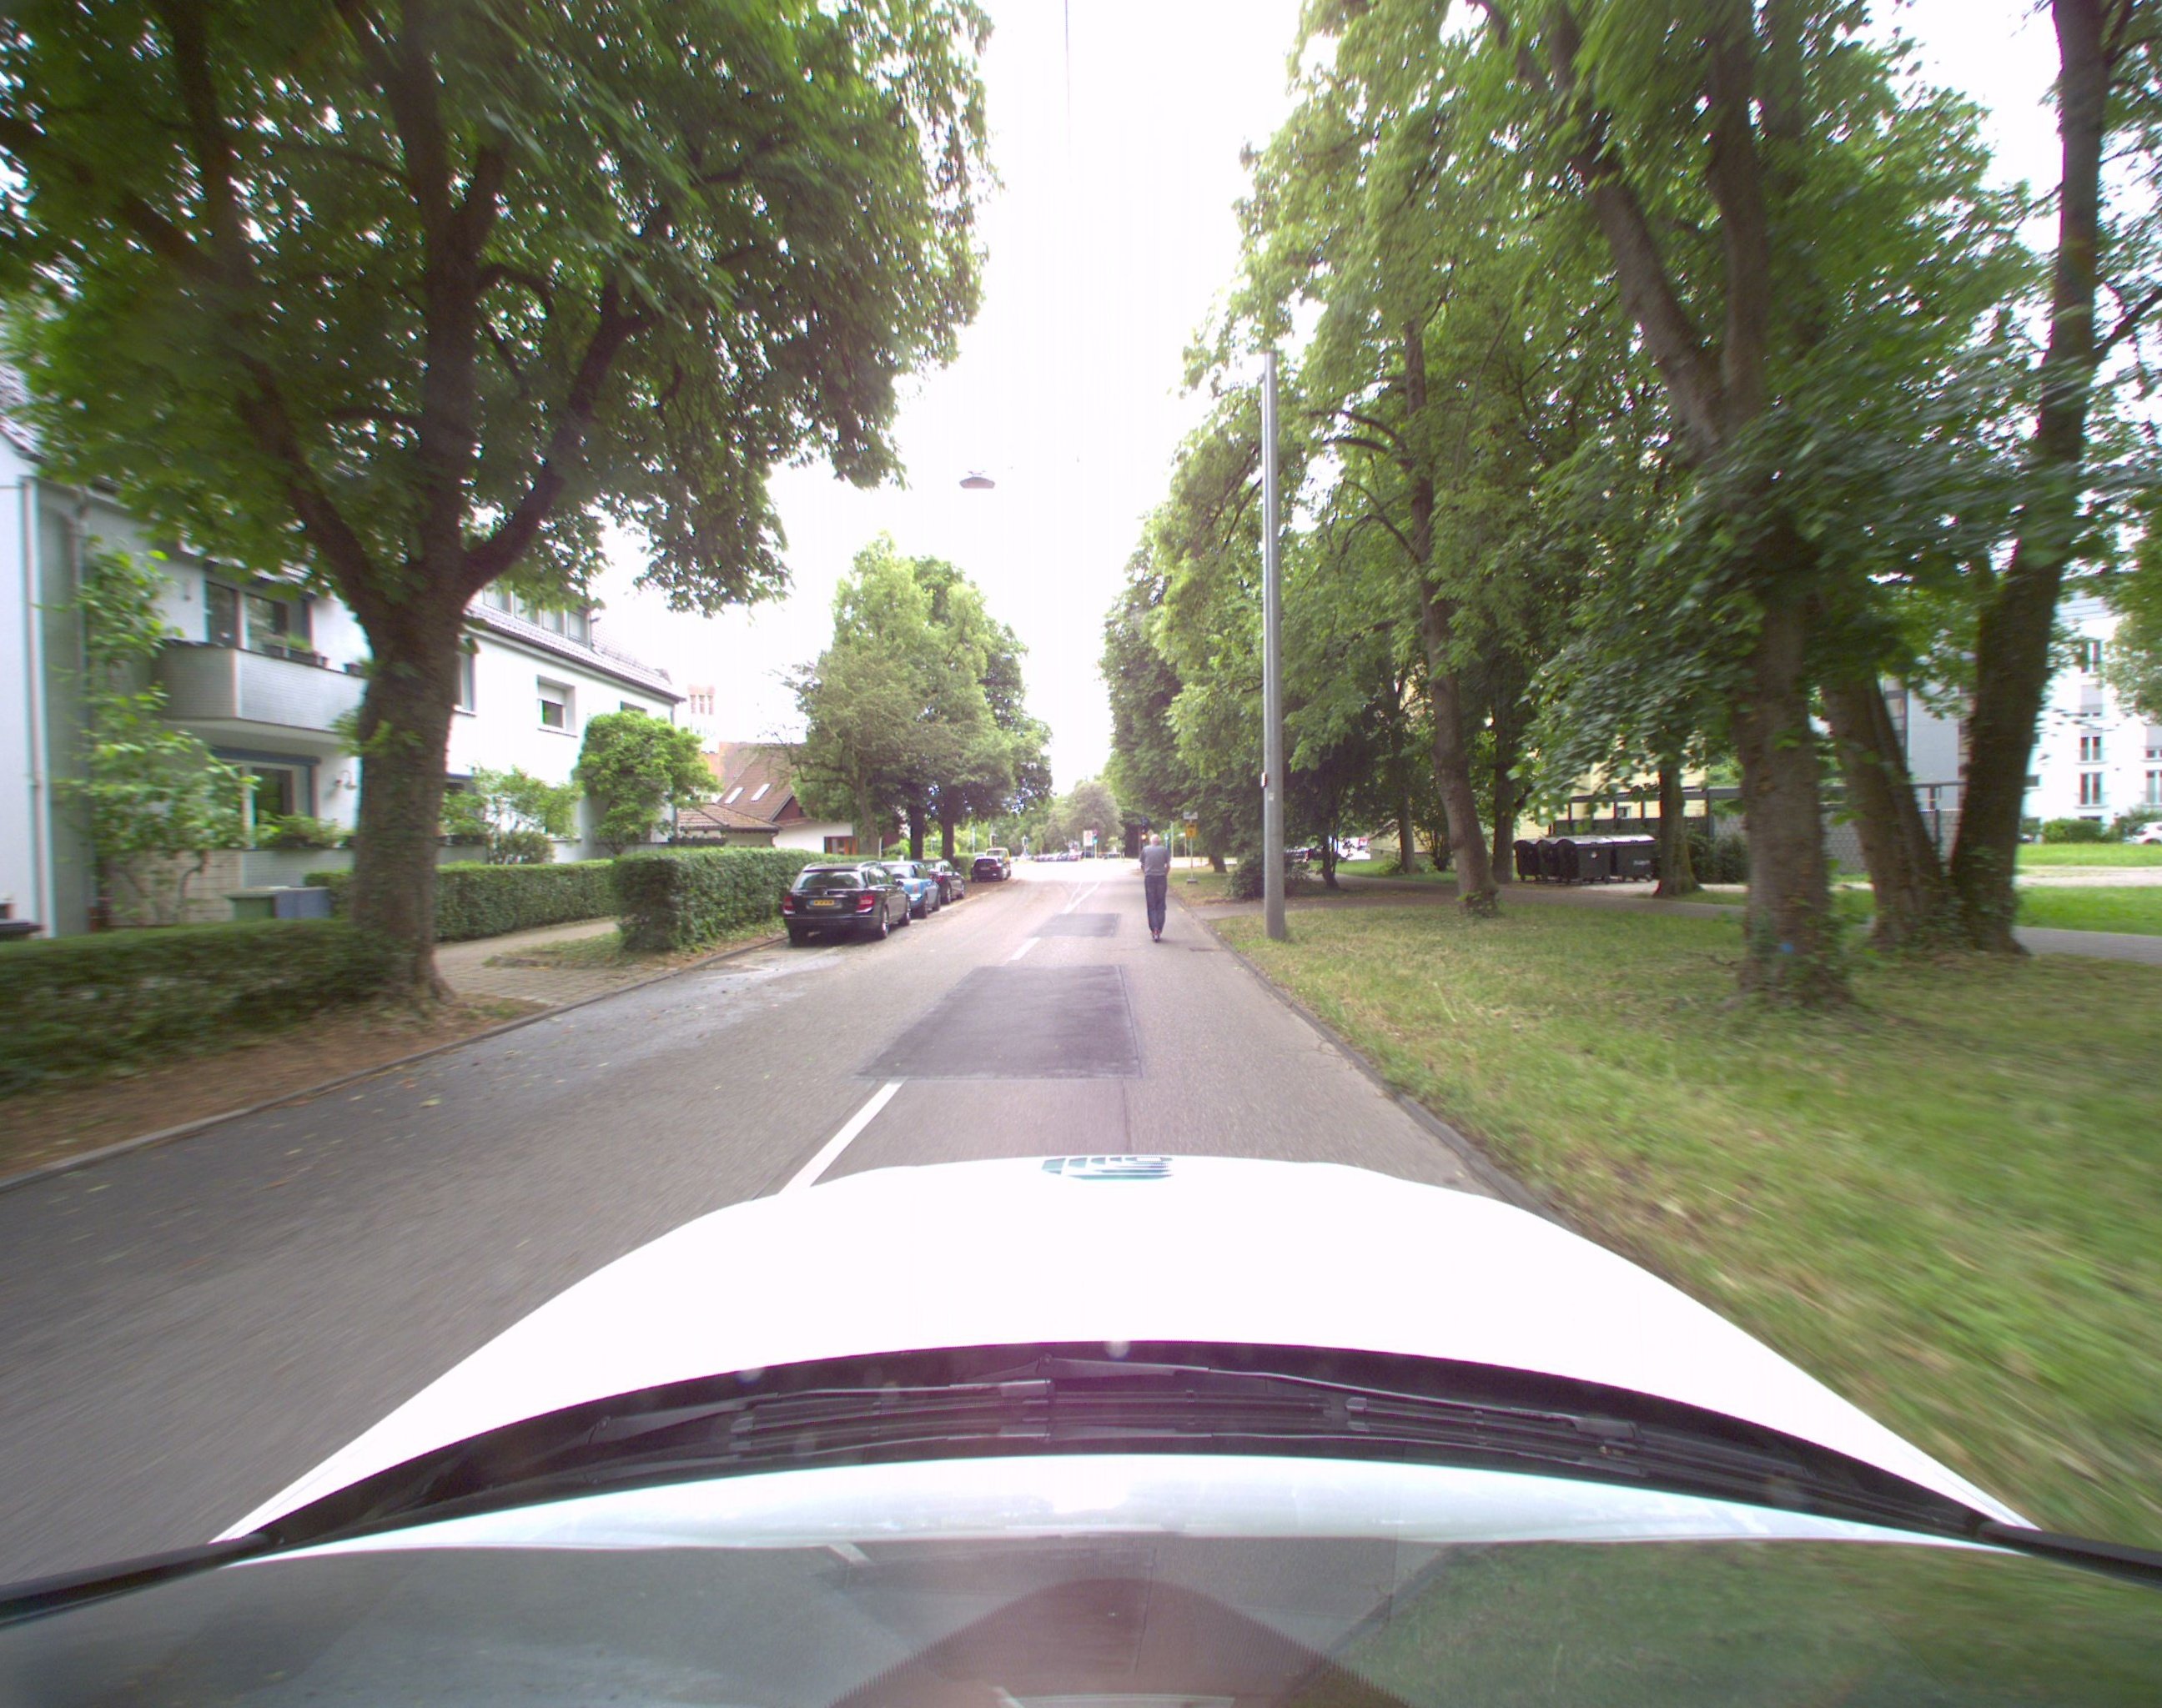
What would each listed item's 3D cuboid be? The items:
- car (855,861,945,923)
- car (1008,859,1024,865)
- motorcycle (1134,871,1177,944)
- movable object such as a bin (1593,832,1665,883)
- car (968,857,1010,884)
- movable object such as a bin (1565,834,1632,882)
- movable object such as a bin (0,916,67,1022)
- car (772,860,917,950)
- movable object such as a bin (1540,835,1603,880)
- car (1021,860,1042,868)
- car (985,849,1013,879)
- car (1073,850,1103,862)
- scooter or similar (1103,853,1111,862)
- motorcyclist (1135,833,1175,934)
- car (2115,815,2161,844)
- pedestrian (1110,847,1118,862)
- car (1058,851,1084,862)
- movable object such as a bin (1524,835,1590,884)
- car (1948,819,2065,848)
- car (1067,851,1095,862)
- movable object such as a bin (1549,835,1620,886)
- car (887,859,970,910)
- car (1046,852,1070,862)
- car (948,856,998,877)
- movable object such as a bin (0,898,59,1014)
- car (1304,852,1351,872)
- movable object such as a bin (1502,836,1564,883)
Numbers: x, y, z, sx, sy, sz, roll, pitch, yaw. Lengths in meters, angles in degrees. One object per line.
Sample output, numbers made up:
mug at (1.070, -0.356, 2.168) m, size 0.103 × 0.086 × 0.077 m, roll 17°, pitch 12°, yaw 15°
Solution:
car at (-4.633, 0.925, 21.321) m, size 1.660 × 1.391 × 3.703 m, roll -2°, pitch 0°, yaw -3°
car at (-16.348, 2.005, 206.016) m, size 3.979 × 1.510 × 1.798 m, roll -2°, pitch 0°, yaw -4°
motorcycle at (1.311, 0.926, 14.473) m, size 0.670 × 1.217 × 1.274 m, roll 0°, pitch 0°, yaw 1°
movable object such as a bin at (17.123, 0.120, 25.486) m, size 1.324 × 1.501 × 1.313 m, roll -2°, pitch 0°, yaw -3°
car at (-5.267, 0.946, 47.132) m, size 1.886 × 1.410 × 4.553 m, roll -2°, pitch -1°, yaw 0°
movable object such as a bin at (17.061, 0.122, 26.889) m, size 1.324 × 1.501 × 1.313 m, roll -2°, pitch 0°, yaw -3°
movable object such as a bin at (-9.901, 1.056, 7.505) m, size 0.455 × 0.915 × 0.507 m, roll -2°, pitch 0°, yaw -7°
car at (-4.571, 0.902, 16.446) m, size 1.790 × 1.472 × 4.413 m, roll -2°, pitch 0°, yaw -3°
movable object such as a bin at (16.974, 0.119, 28.240) m, size 1.324 × 1.501 × 1.313 m, roll -2°, pitch 0°, yaw -3°
car at (-9.426, 1.900, 155.219) m, size 3.979 × 1.510 × 1.798 m, roll -2°, pitch 0°, yaw -4°
car at (-5.860, 0.708, 58.163) m, size 1.855 × 1.964 × 4.494 m, roll -2°, pitch -1°, yaw -6°
car at (0.952, 0.334, 114.461) m, size 3.979 × 1.510 × 1.798 m, roll -2°, pitch 0°, yaw -4°
scooter or similar at (3.036, 0.404, 95.624) m, size 0.704 × 1.049 × 0.791 m, roll -2°, pitch -1°, yaw 18°
motorcyclist at (1.315, 0.520, 14.610) m, size 0.670 × 1.761 × 0.639 m, roll 0°, pitch 0°, yaw 0°
car at (59.446, -1.370, 43.929) m, size 4.282 × 1.510 × 1.811 m, roll -2°, pitch -1°, yaw 44°
pedestrian at (3.824, 0.030, 95.473) m, size 0.726 × 1.762 × 0.665 m, roll -2°, pitch -1°, yaw 18°
car at (-1.514, 0.412, 128.374) m, size 3.979 × 1.510 × 1.798 m, roll -2°, pitch 0°, yaw -4°
movable object such as a bin at (15.612, 0.177, 26.733) m, size 1.324 × 1.501 × 1.313 m, roll -2°, pitch 0°, yaw -3°
car at (54.745, -1.200, 48.300) m, size 4.280 × 1.510 × 1.812 m, roll -2°, pitch -1°, yaw 37°
car at (0.004, 0.335, 121.573) m, size 3.979 × 1.510 × 1.798 m, roll -2°, pitch 0°, yaw -4°
movable object such as a bin at (15.675, 0.195, 25.391) m, size 1.324 × 1.501 × 1.313 m, roll -2°, pitch 0°, yaw -3°
car at (-4.881, 0.931, 26.671) m, size 1.788 × 1.410 × 4.644 m, roll -2°, pitch 0°, yaw 0°
car at (-4.012, 0.503, 140.928) m, size 3.979 × 1.510 × 1.798 m, roll -2°, pitch 0°, yaw -4°
car at (-8.759, 0.991, 66.233) m, size 3.982 × 1.510 × 1.796 m, roll -1°, pitch 2°, yaw -7°
movable object such as a bin at (-10.432, 0.988, 7.942) m, size 0.380 × 1.089 × 0.405 m, roll -2°, pitch 0°, yaw -6°
car at (23.067, 0.761, 76.258) m, size 3.951 × 1.726 × 1.811 m, roll 1°, pitch 3°, yaw 24°
movable object such as a bin at (15.549, 0.187, 28.070) m, size 1.324 × 1.501 × 1.313 m, roll -2°, pitch 0°, yaw -3°
